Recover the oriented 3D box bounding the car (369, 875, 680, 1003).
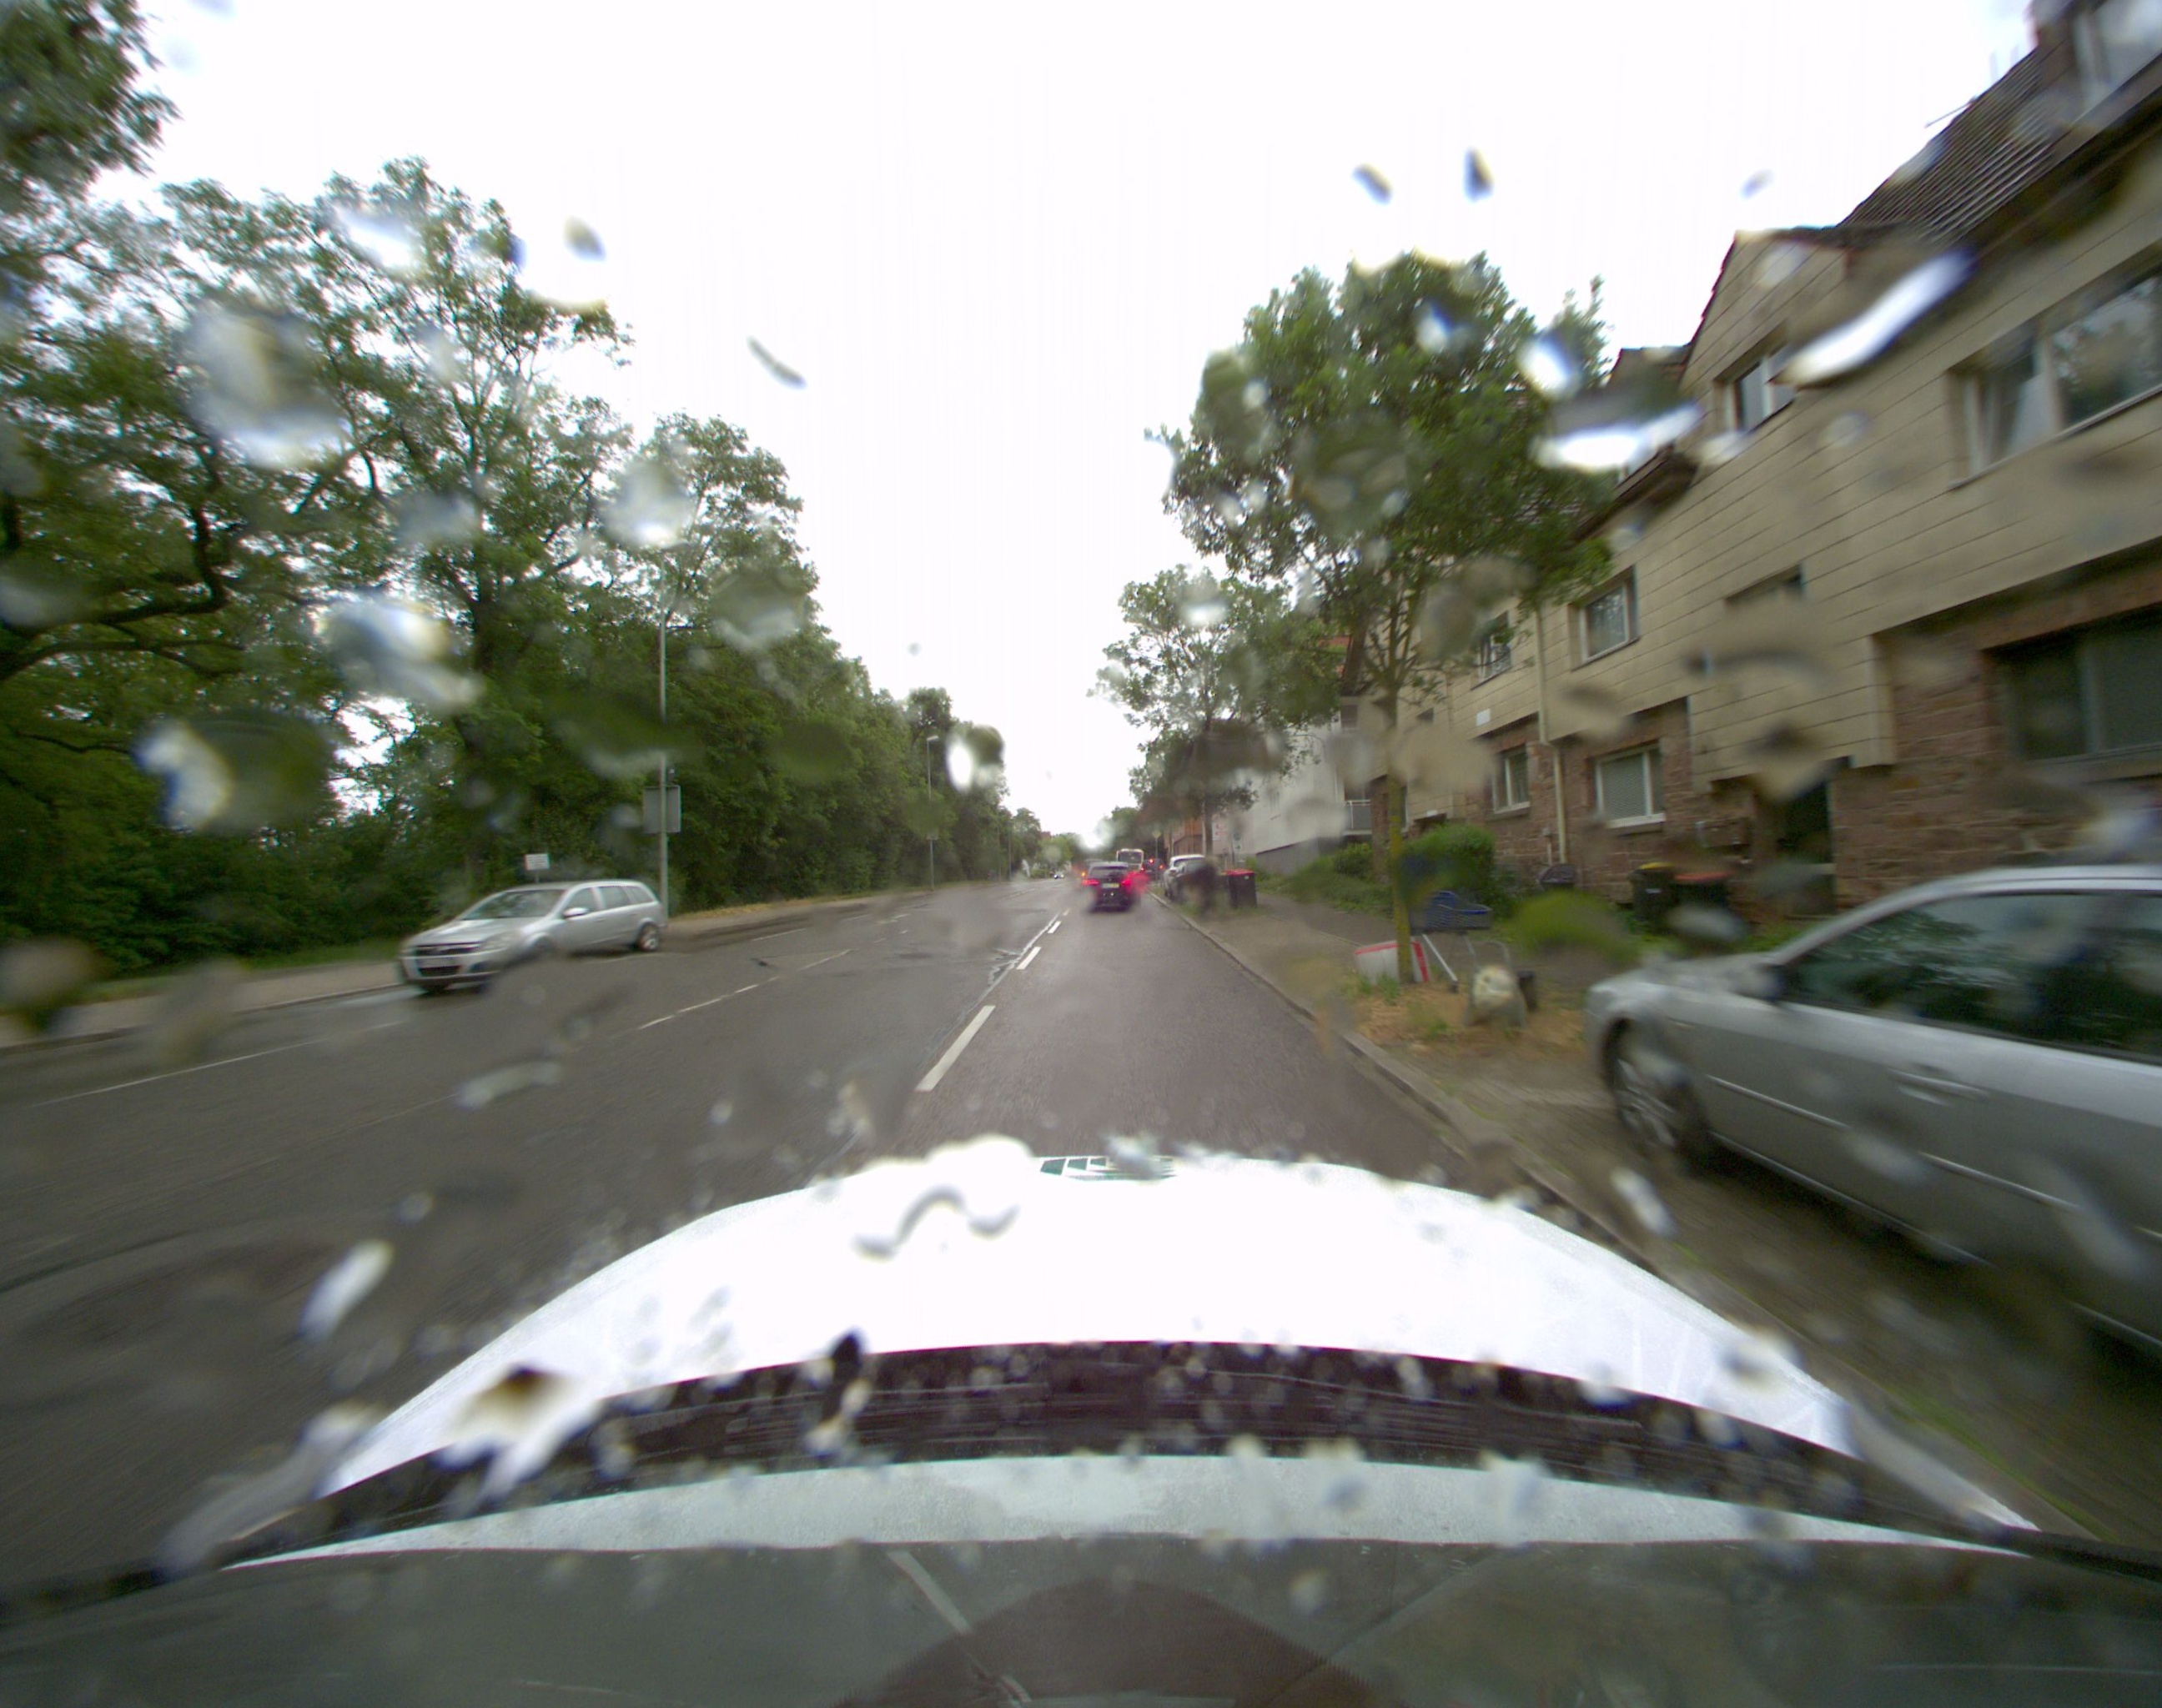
[{"bbox_3d":[-8.431,1.173,12.949,1.683,1.483,4.454,-4,0,2],"label":"car"}]

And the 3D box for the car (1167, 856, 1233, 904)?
[{"bbox_3d":[4.014,0.851,28.035,1.636,1.448,3.998,-2,-1,0],"label":"car"}]

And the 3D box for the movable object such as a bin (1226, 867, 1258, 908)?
[{"bbox_3d":[4.377,0.910,22.235,0.617,1.050,0.822,-5,0,-1],"label":"movable object such as a bin"}]

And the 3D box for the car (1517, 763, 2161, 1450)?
[{"bbox_3d":[3.351,0.533,2.404,1.695,1.584,4.646,-6,0,3],"label":"car"}]

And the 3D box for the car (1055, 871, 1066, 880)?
[{"bbox_3d":[-3.919,4.087,155.495,1.763,1.533,4.001,-3,0,1],"label":"car"}]

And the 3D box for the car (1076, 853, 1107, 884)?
[{"bbox_3d":[0.792,0.979,56.111,1.986,2.014,4.002,-2,0,2],"label":"car"}]

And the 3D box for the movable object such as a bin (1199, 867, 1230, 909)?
[{"bbox_3d":[3.648,0.920,22.266,0.617,1.050,0.822,-5,0,-1],"label":"movable object such as a bin"}]

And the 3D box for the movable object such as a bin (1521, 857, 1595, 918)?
[{"bbox_3d":[7.988,0.549,13.674,0.697,0.965,0.942,-1,0,2],"label":"movable object such as a bin"}]

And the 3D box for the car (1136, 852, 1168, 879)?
[{"bbox_3d":[5.686,0.904,64.725,1.915,1.892,4.774,-6,-2,10],"label":"car"}]

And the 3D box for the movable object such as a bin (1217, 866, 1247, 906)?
[{"bbox_3d":[4.287,0.904,23.160,0.617,1.050,0.822,-5,0,-1],"label":"movable object such as a bin"}]

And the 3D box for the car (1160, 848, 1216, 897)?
[{"bbox_3d":[4.303,0.714,33.342,1.817,1.772,4.544,-3,0,3],"label":"car"}]

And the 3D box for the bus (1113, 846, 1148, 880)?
[{"bbox_3d":[4.734,0.819,76.281,2.609,2.847,8.305,-3,0,7],"label":"bus"}]

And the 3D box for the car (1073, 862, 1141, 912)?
[{"bbox_3d":[0.793,0.985,26.061,1.987,1.453,4.000,0,0,0],"label":"car"}]

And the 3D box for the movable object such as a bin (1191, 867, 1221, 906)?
[{"bbox_3d":[3.551,0.915,23.167,0.617,1.050,0.822,-5,0,-1],"label":"movable object such as a bin"}]
